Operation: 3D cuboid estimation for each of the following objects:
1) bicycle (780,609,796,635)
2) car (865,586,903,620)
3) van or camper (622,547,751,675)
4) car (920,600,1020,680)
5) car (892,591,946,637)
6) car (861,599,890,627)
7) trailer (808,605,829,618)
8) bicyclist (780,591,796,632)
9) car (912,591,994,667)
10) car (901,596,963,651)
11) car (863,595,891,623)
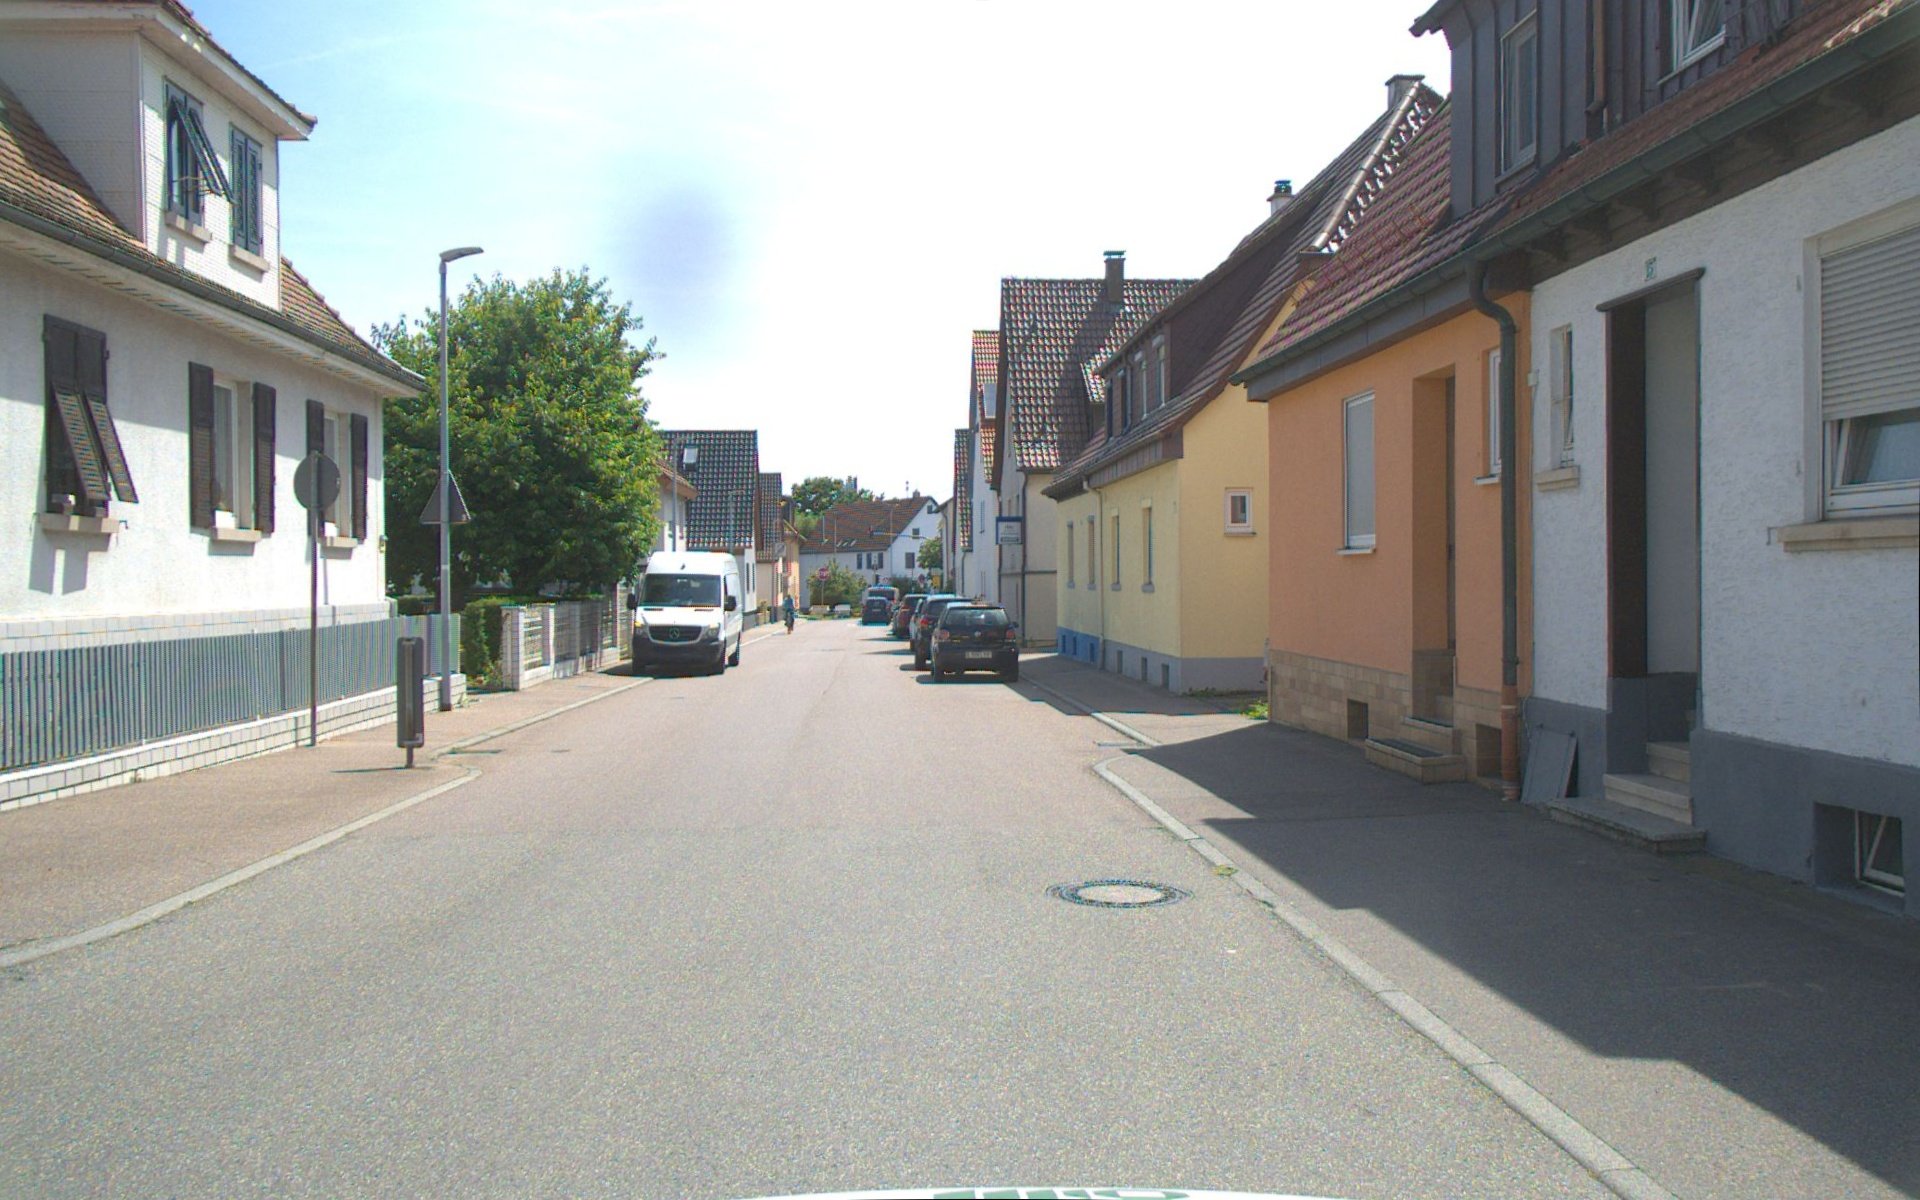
[{"bbox_3d":[-7.795,0.978,75.068,0.657,1.152,2.187,0,0,-4],"label":"bicycle"},{"bbox_3d":[-5.019,0.208,109.740,2.084,2.196,4.738,-1,0,3],"label":"car"},{"bbox_3d":[-6.027,0.219,37.279,2.141,2.616,6.802,0,0,-4],"label":"van or camper"},{"bbox_3d":[0.141,0.736,32.134,1.579,1.456,3.750,0,0,-5],"label":"car"},{"bbox_3d":[-1.624,0.533,64.694,1.839,1.730,4.178,0,0,-5],"label":"car"},{"bbox_3d":[-4.861,0.719,95.592,1.484,1.594,3.184,0,0,0],"label":"car"},{"bbox_3d":[-10.714,0.853,125.057,1.471,0.943,1.012,1,0,-2],"label":"trailer"},{"bbox_3d":[-7.801,0.511,75.122,0.699,1.830,0.941,0,0,-5],"label":"bicyclist"},{"bbox_3d":[-0.210,0.613,37.678,1.694,1.628,4.251,0,0,-3],"label":"car"},{"bbox_3d":[-0.878,0.676,49.592,1.641,1.586,3.037,0,0,-5],"label":"car"},{"bbox_3d":[-5.068,0.516,100.900,1.484,1.653,3.184,-1,0,0],"label":"car"}]
